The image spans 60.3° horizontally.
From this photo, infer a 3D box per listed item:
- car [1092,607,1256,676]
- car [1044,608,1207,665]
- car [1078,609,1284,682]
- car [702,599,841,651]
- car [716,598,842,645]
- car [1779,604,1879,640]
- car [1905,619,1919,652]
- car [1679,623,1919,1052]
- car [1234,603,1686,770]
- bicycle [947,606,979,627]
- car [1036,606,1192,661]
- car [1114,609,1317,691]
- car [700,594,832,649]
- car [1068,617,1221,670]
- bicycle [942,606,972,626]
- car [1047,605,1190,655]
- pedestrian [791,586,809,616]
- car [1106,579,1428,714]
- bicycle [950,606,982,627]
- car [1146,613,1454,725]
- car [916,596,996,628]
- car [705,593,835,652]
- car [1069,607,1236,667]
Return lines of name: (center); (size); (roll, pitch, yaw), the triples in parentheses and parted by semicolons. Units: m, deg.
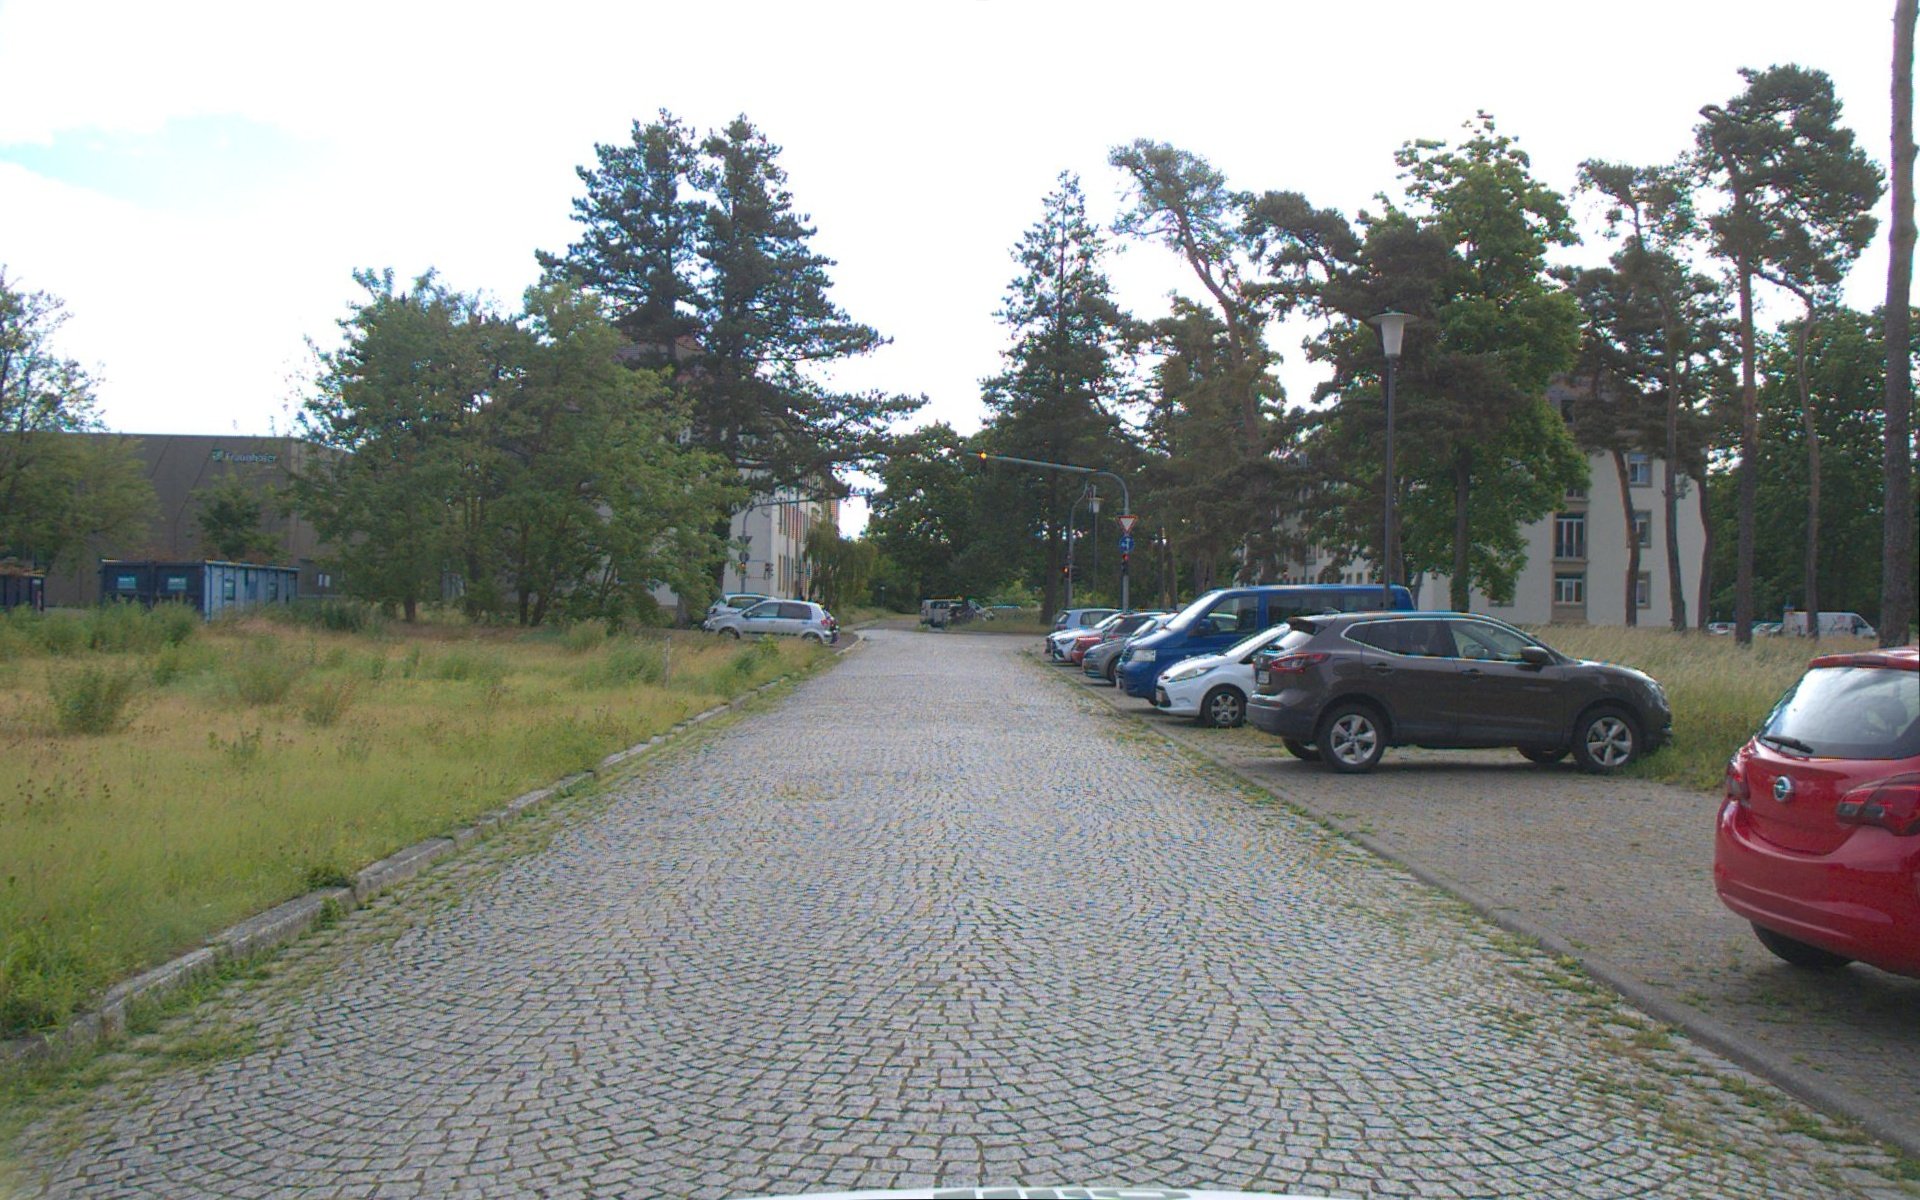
car: (4.780, 0.924, 37.246); (3.434, 1.513, 1.742); (0, 0, -2)
car: (4.427, 0.964, 44.568); (4.107, 1.462, 1.752); (0, 0, -8)
car: (4.532, 0.927, 34.373); (4.046, 1.472, 1.765); (0, 0, -1)
car: (-5.846, 0.759, 51.334); (4.216, 1.581, 1.809); (0, 0, -7)
car: (-6.174, 0.732, 56.587); (4.216, 1.581, 1.809); (0, 0, -7)
car: (54.632, 1.384, 104.045); (5.192, 2.055, 2.105); (2, -1, 0)
car: (55.938, 2.080, 93.335); (4.048, 1.835, 1.900); (2, -1, 1)
car: (5.332, 0.878, 6.970); (3.844, 1.523, 1.784); (0, 0, -3)
car: (5.103, 0.850, 17.271); (4.120, 1.623, 1.952); (0, 0, -3)
bicycle: (0.184, 1.020, 102.774); (1.845, 1.191, 0.664); (2, -1, -7)
car: (4.400, 0.941, 47.335); (4.154, 1.505, 1.705); (0, 0, -12)
car: (4.813, 0.935, 31.474); (3.579, 1.504, 1.765); (0, 0, -1)
car: (-6.317, 0.700, 54.130); (4.215, 1.763, 1.650); (0, 0, -6)
car: (4.416, 1.038, 39.863); (3.513, 1.244, 1.628); (0, 0, 0)
bicycle: (-0.202, 1.020, 105.403); (1.845, 1.191, 0.664); (2, -1, -7)
car: (4.754, 0.892, 49.896); (4.056, 1.489, 1.631); (0, 0, -6)
pedestrian: (-11.029, 0.081, 114.186); (1.052, 1.993, 1.121); (2, -1, -1)
car: (4.777, 0.708, 26.166); (4.700, 2.039, 1.965); (0, 0, -3)
bicycle: (0.352, 1.022, 101.918); (1.845, 1.191, 0.664); (2, -1, -7)
car: (4.794, 0.954, 23.620); (4.017, 1.504, 1.720); (0, 0, -4)
car: (-0.317, 0.853, 116.709); (5.284, 2.138, 2.171); (1, 0, -13)
car: (-5.573, 0.648, 48.744); (3.647, 1.506, 1.672); (3, 0, -4)
car: (4.870, 0.927, 42.216); (4.023, 1.502, 1.684); (0, 0, -3)
